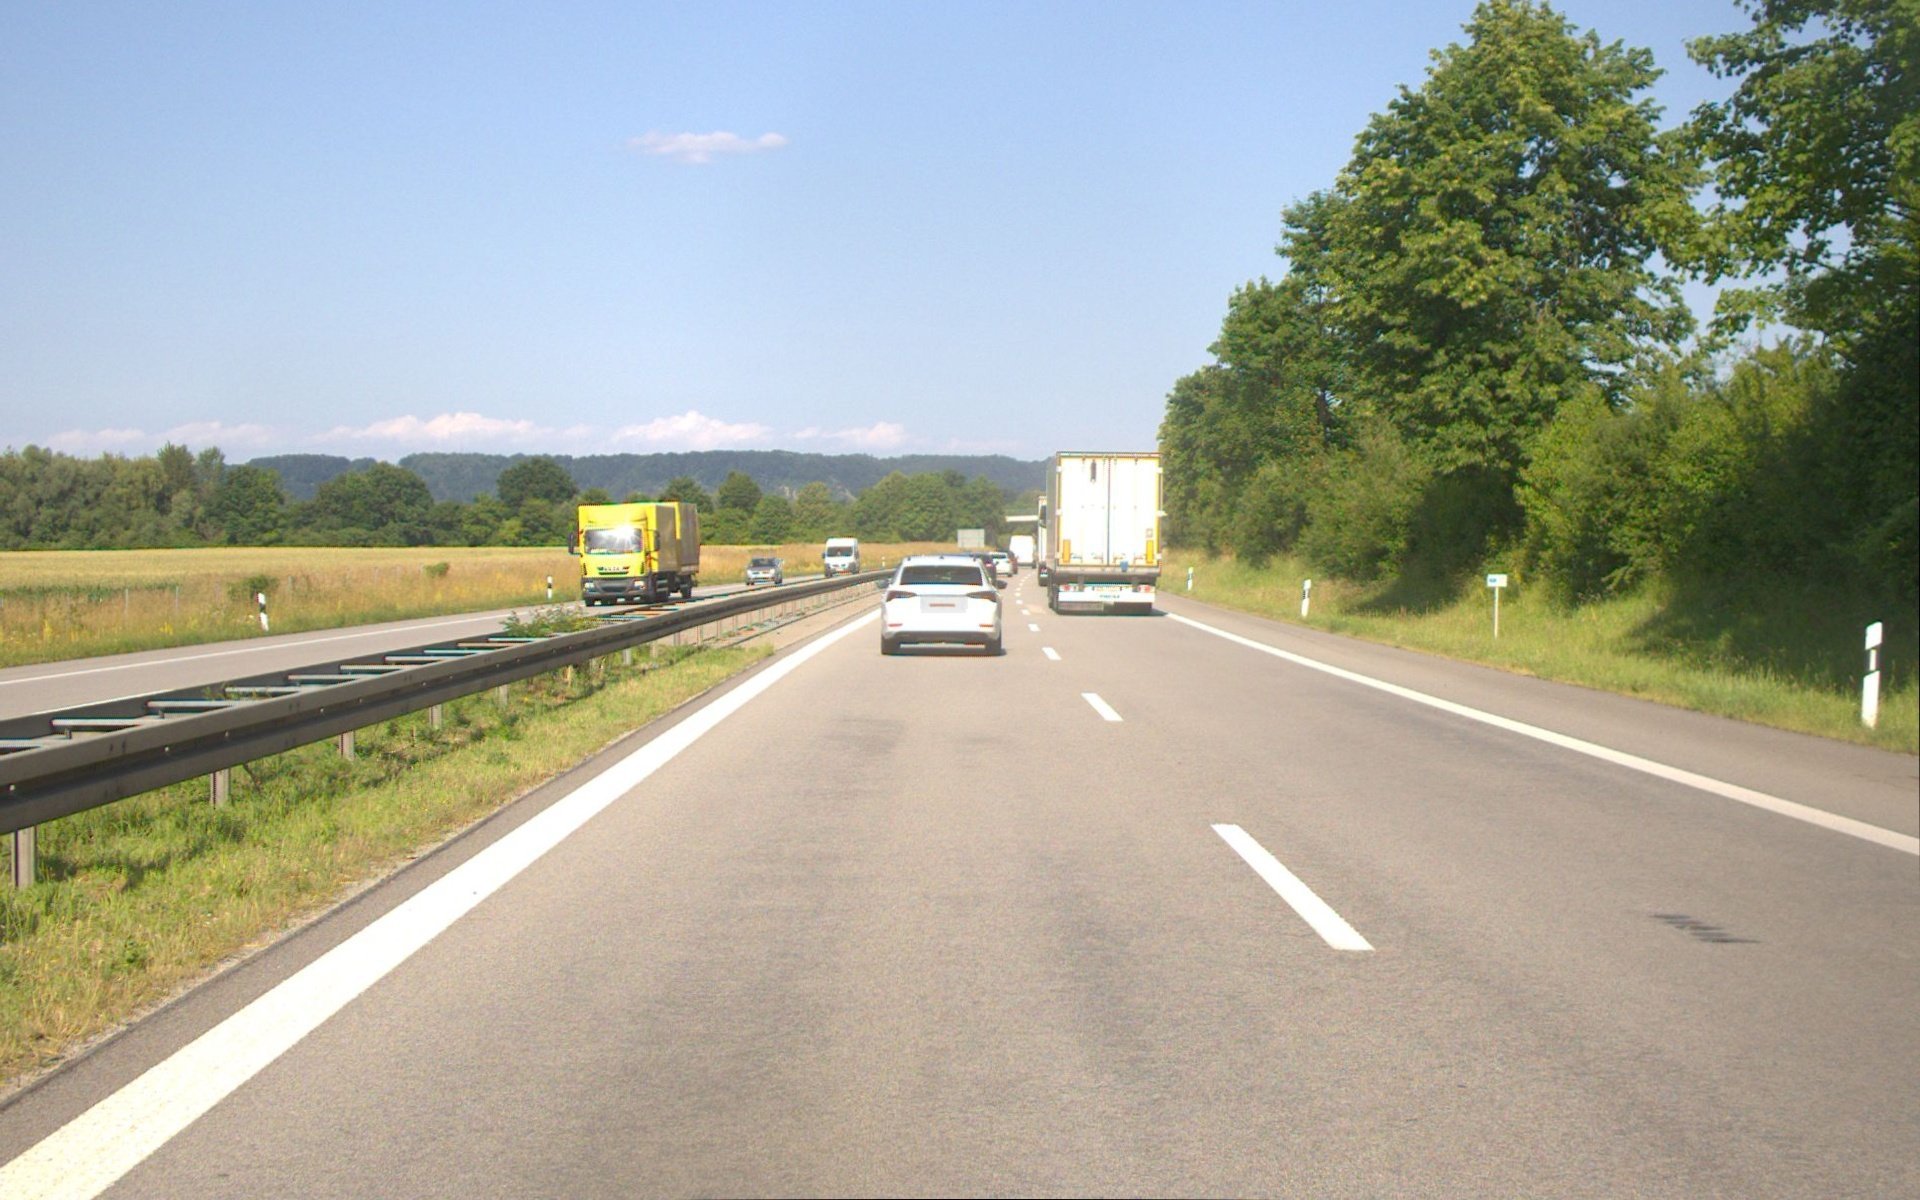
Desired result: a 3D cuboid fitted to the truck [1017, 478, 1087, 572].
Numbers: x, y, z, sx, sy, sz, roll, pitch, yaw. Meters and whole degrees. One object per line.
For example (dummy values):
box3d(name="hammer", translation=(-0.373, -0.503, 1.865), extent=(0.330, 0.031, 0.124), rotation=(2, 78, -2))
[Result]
box3d(name="truck", translation=(4.149, -3.372, 155.442), extent=(3.013, 4.101, 8.905), rotation=(-1, 1, 1))

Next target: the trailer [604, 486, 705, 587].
box3d(name="trailer", translation=(-11.047, -2.308, 125.138), extent=(2.735, 3.448, 9.233), rotation=(-2, 1, 0))

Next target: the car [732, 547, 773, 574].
box3d(name="car", translation=(-10.800, -2.087, 179.220), extent=(1.835, 1.371, 4.000), rotation=(-1, 1, 0))

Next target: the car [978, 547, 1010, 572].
box3d(name="car", translation=(1.936, -2.350, 197.301), extent=(1.771, 1.416, 4.365), rotation=(1, 1, 0))

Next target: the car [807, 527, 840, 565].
box3d(name="car", translation=(-9.037, -3.589, 228.261), extent=(1.925, 2.467, 5.186), rotation=(-1, 1, 0))

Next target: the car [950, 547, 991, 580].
box3d(name="car", translation=(0.450, -1.620, 152.688), extent=(1.771, 1.416, 4.365), rotation=(1, 1, 0))

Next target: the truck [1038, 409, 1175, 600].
box3d(name="truck", translation=(3.657, -2.404, 87.813), extent=(3.152, 4.596, 8.905), rotation=(-1, 1, 0))

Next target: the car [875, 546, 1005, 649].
box3d(name="car", translation=(-0.324, -0.072, 51.871), extent=(1.840, 1.416, 5.255), rotation=(1, 1, -1))

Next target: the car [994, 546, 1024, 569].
box3d(name="car", translation=(3.149, -2.736, 220.156), extent=(1.771, 1.416, 4.364), rotation=(1, 1, 3))

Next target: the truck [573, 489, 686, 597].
box3d(name="truck", translation=(-11.076, -1.907, 115.869), extent=(2.735, 3.371, 9.233), rotation=(-3, 1, 0))
